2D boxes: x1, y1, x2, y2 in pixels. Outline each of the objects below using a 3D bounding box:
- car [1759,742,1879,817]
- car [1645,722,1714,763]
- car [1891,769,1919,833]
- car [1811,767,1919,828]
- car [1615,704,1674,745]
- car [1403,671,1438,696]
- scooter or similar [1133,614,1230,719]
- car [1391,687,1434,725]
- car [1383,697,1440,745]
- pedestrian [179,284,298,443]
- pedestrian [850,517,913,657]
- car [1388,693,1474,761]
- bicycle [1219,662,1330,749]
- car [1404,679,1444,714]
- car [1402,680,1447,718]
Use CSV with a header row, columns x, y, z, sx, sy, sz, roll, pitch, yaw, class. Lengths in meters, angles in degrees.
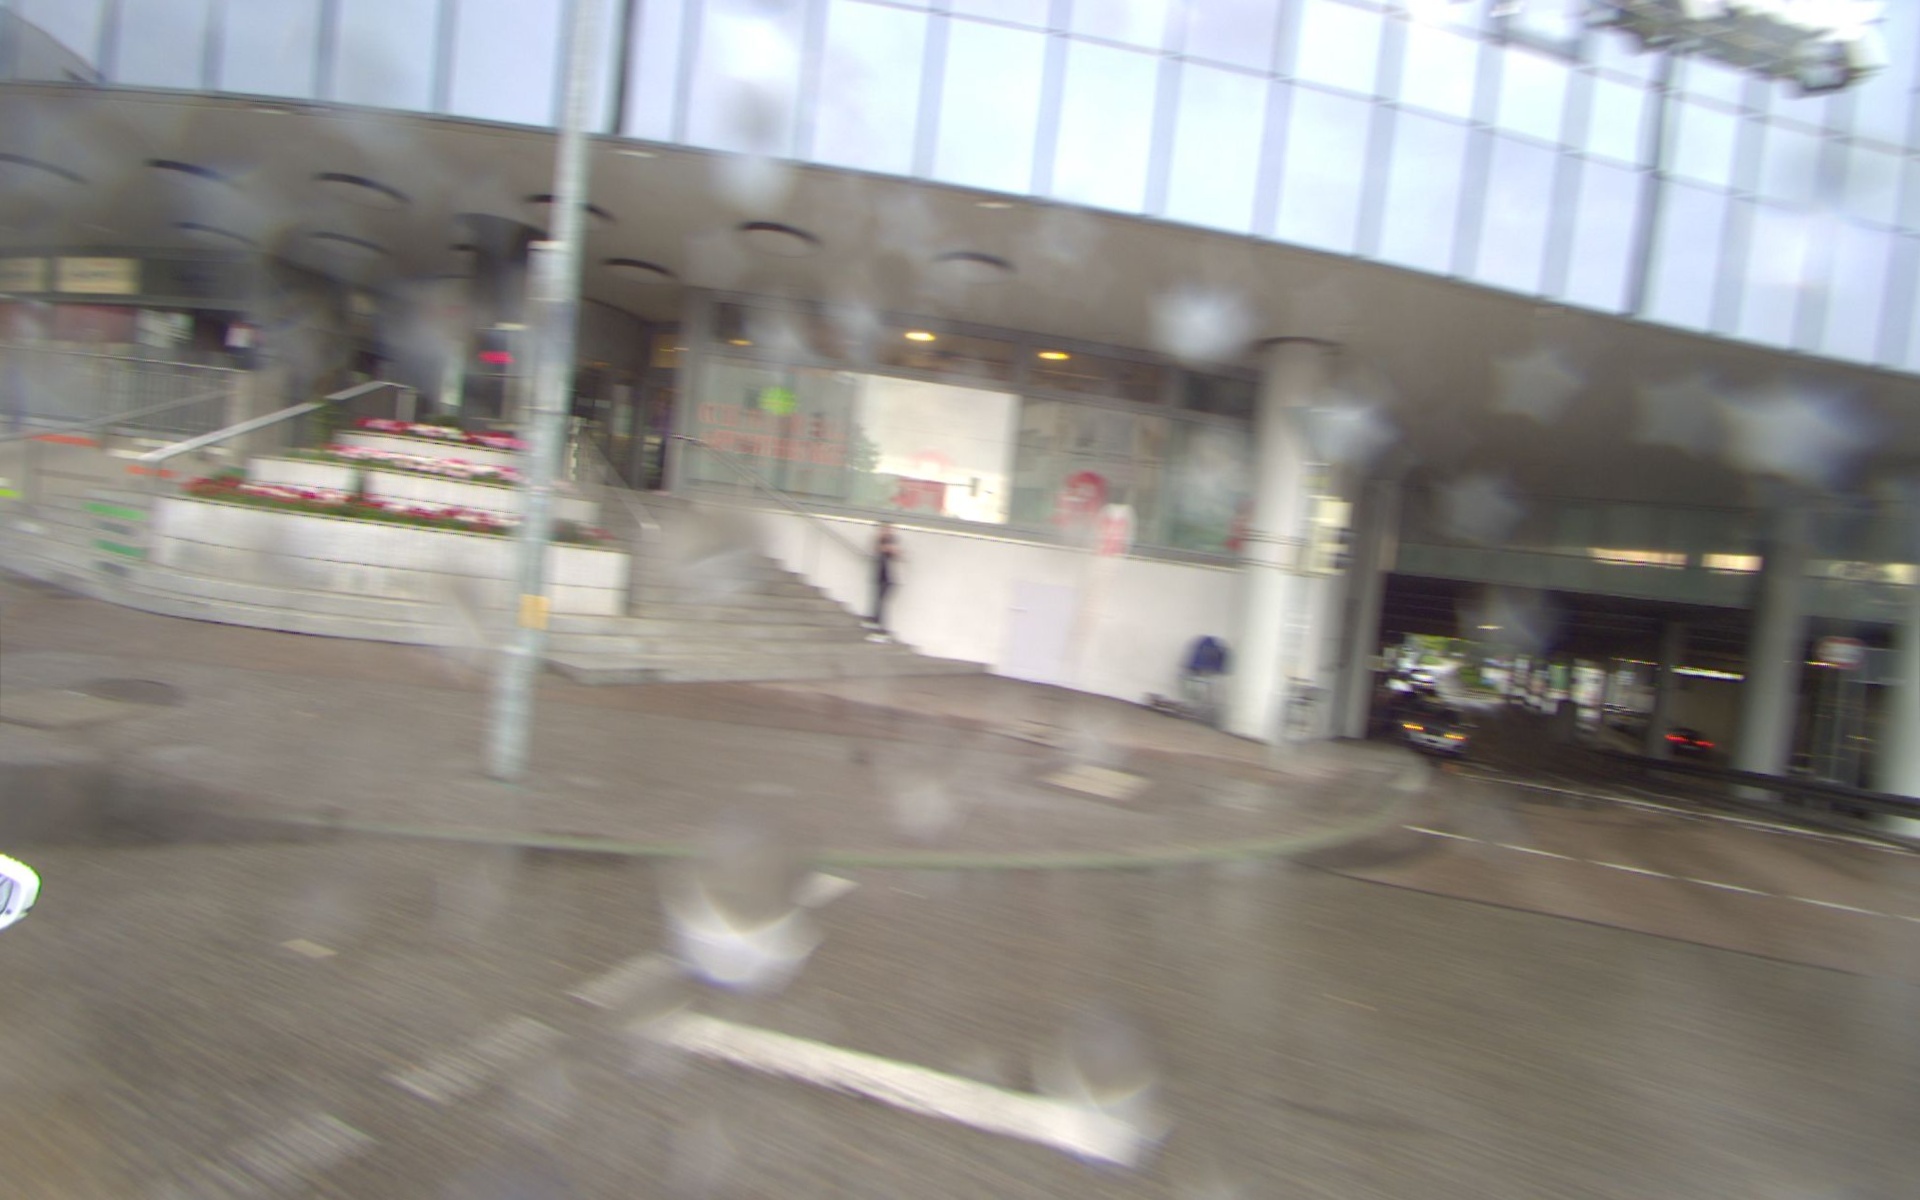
x,y,z,sx,sy,sz,roll,pitch,yaw,class
29.543,6.122,34.745,1.764,1.793,3.997,7,1,22,car
38.440,7.592,53.856,1.859,1.510,3.839,9,1,20,car
25.407,5.210,25.268,1.609,1.627,4.269,6,-5,25,car
27.821,5.991,30.502,1.752,1.414,4.007,7,-4,21,car
40.626,7.371,59.790,1.813,1.799,3.589,9,1,20,car
35.688,6.448,78.066,1.963,1.482,3.998,7,0,20,car
3.326,0.990,15.151,1.150,1.390,0.488,8,2,-8,scooter or similar
25.100,5.859,55.910,1.886,1.608,3.936,7,0,22,car
17.806,4.725,39.816,1.744,1.481,3.876,7,-1,22,car
-10.615,-3.457,14.818,0.817,2.039,0.952,9,2,16,pedestrian
-1.138,-0.192,14.695,0.646,1.933,0.594,7,2,-1,pedestrian
13.275,3.582,28.558,1.864,1.485,4.031,7,-3,23,car
4.866,1.632,15.541,1.569,1.029,0.449,13,0,-24,bicycle
29.800,6.170,64.689,1.963,1.685,3.997,9,1,22,car
27.900,5.912,60.558,1.808,1.749,3.999,7,1,18,car
